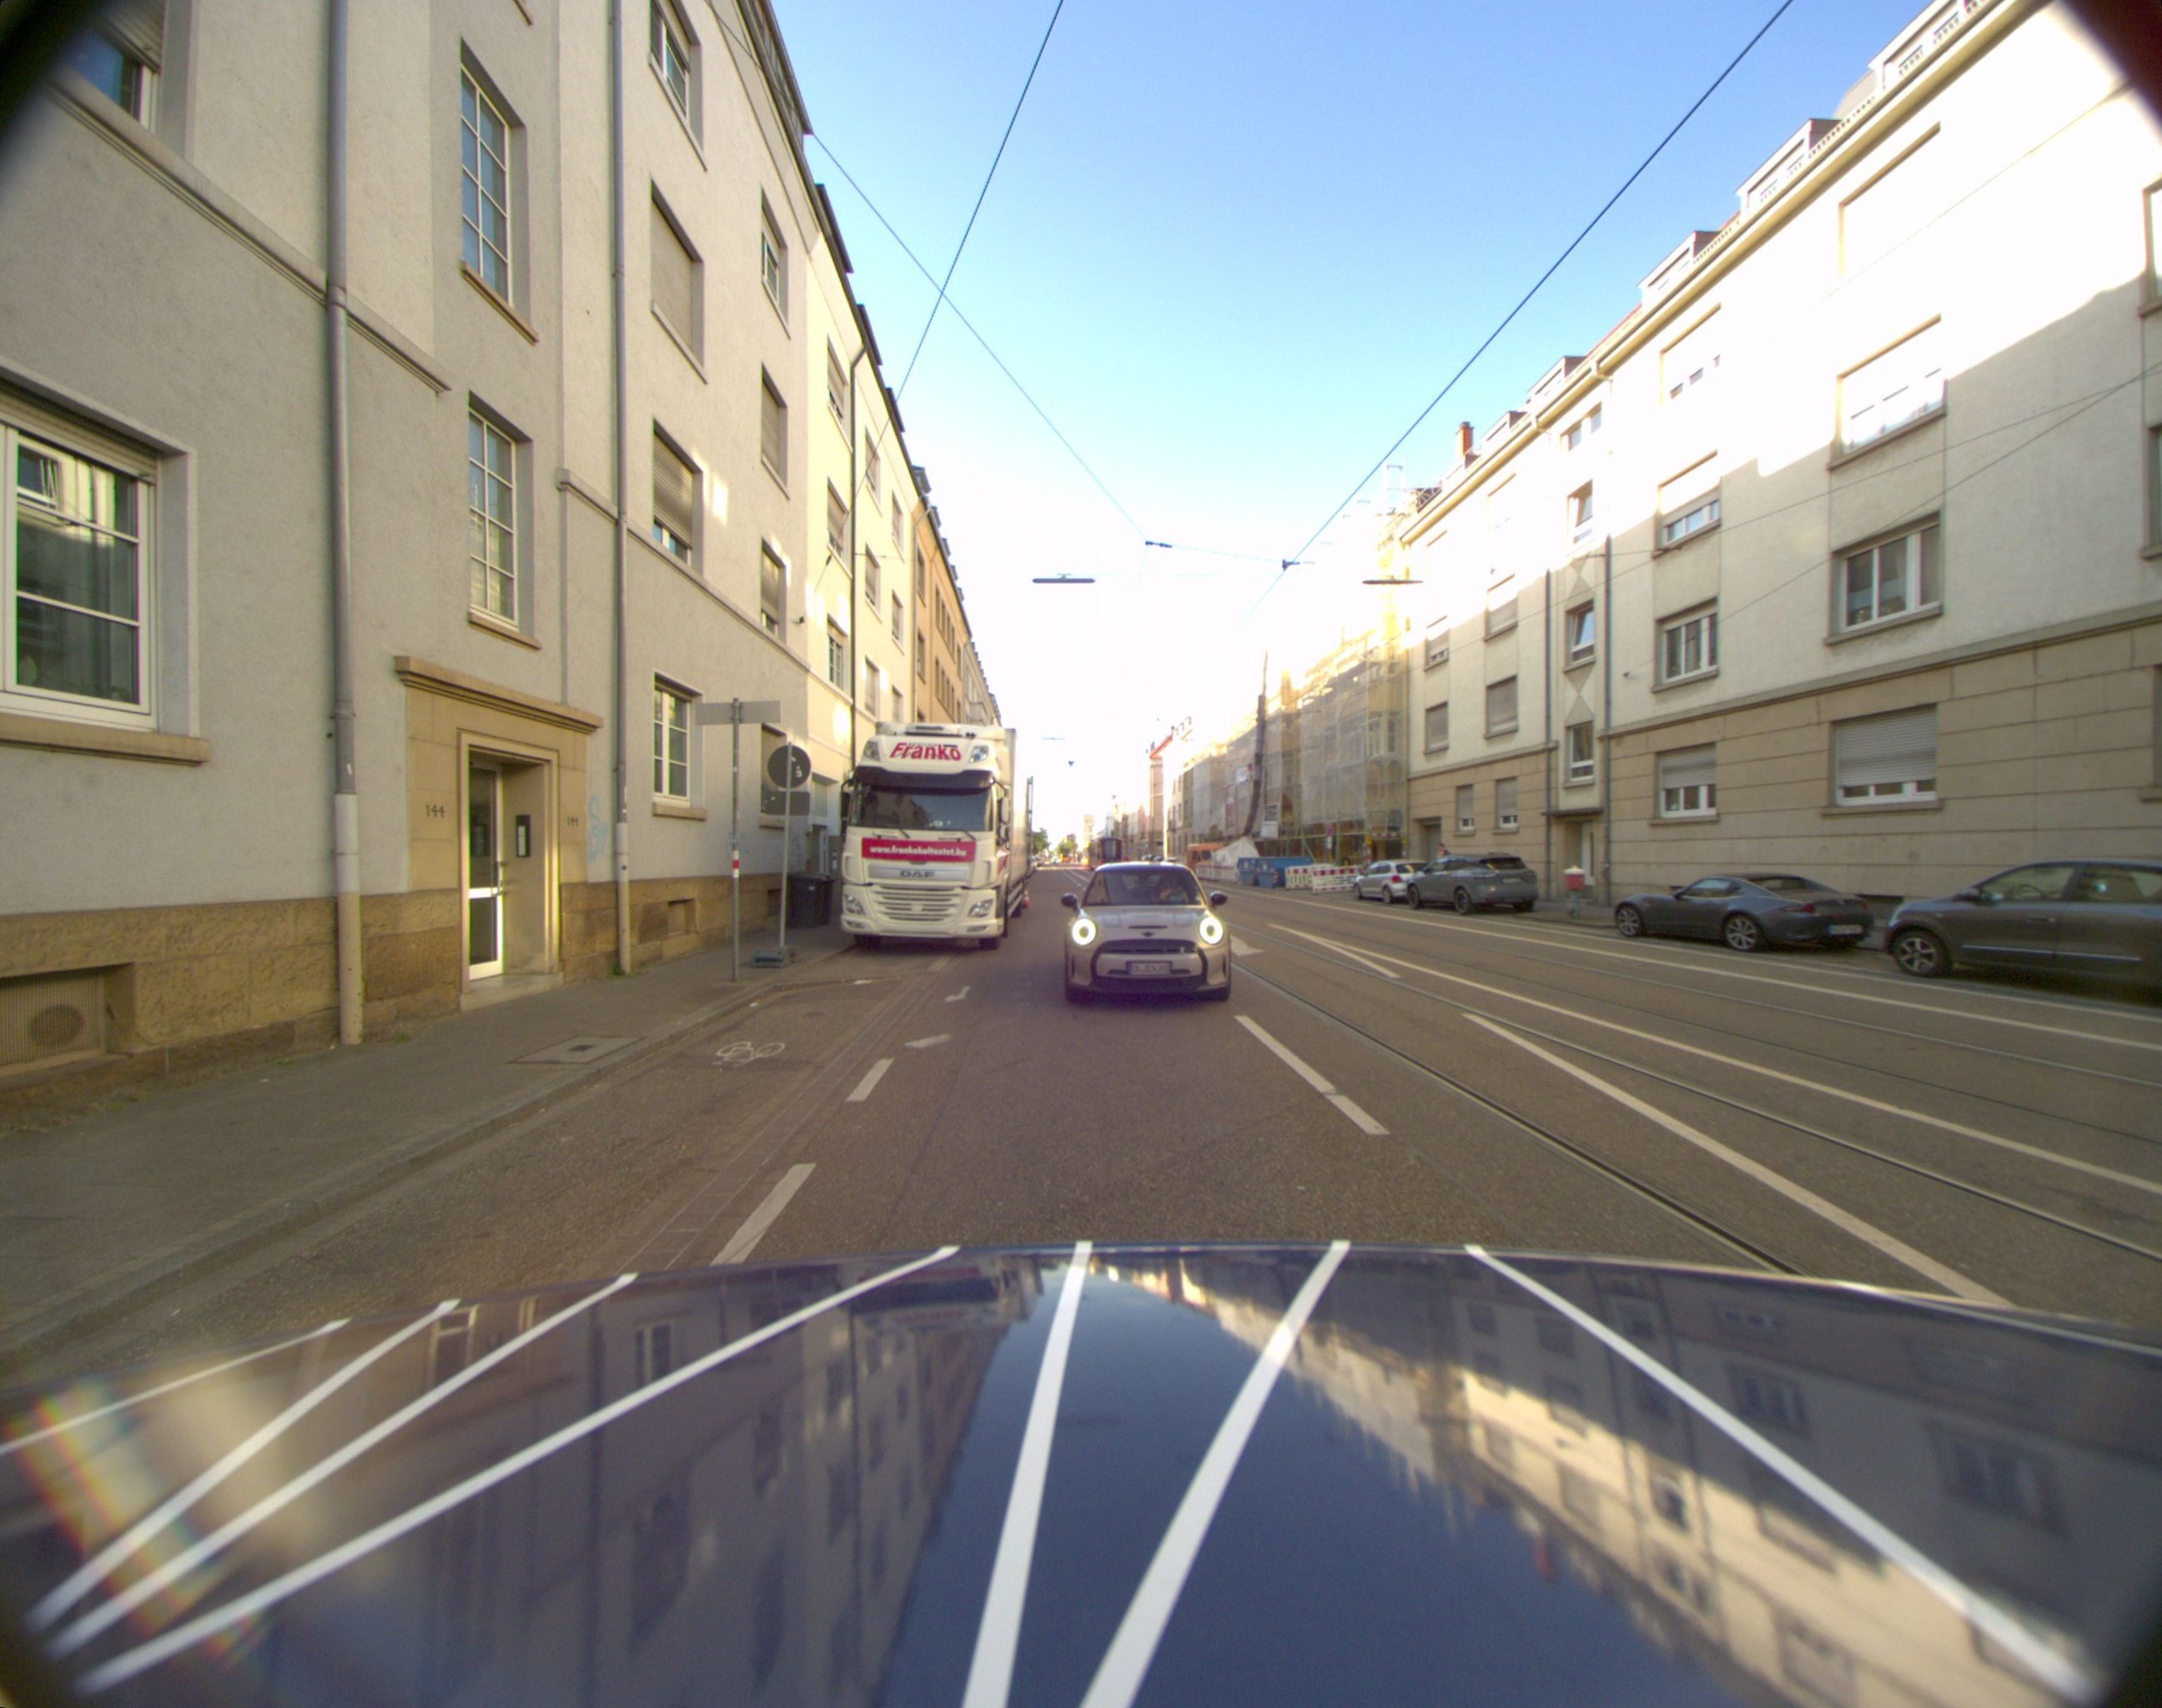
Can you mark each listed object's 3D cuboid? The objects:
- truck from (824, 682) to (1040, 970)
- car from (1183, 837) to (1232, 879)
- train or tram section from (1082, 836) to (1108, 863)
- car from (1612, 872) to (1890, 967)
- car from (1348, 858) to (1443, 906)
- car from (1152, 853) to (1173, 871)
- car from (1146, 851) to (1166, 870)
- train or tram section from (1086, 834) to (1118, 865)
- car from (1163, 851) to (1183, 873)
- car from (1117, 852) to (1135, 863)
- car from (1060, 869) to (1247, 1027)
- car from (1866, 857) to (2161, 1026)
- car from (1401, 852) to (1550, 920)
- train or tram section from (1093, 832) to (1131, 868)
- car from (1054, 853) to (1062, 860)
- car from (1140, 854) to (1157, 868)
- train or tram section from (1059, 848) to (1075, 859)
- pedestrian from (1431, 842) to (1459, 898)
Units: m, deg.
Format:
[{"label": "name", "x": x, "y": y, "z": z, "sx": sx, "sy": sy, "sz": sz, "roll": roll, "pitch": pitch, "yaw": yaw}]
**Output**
[{"label": "truck", "x": -2.498, "y": -0.504, "z": 17.047, "sx": 2.700, "sy": 4.214, "sz": 11.773, "roll": 0, "pitch": 1, "yaw": -1}, {"label": "car", "x": 8.802, "y": 0.249, "z": 53.359, "sx": 2.215, "sy": 2.681, "sz": 5.871, "roll": -2, "pitch": 1, "yaw": -2}, {"label": "train or tram section", "x": 1.830, "y": -0.695, "z": 106.587, "sx": 2.867, "sy": 3.542, "sz": 13.330, "roll": 0, "pitch": 1, "yaw": -3}, {"label": "car", "x": 11.122, "y": 1.003, "z": 12.966, "sx": 1.476, "sy": 1.212, "sz": 3.522, "roll": -3, "pitch": 1, "yaw": -4}, {"label": "car", "x": 10.571, "y": 0.887, "z": 25.781, "sx": 1.565, "sy": 1.372, "sz": 3.506, "roll": -3, "pitch": 1, "yaw": -4}, {"label": "car", "x": 8.194, "y": 0.768, "z": 77.011, "sx": 1.570, "sy": 1.674, "sz": 3.935, "roll": -2, "pitch": 1, "yaw": -1}, {"label": "car", "x": 8.184, "y": 0.647, "z": 83.396, "sx": 1.570, "sy": 1.945, "sz": 4.183, "roll": -2, "pitch": 1, "yaw": -1}, {"label": "train or tram section", "x": 2.474, "y": -0.568, "z": 93.285, "sx": 2.867, "sy": 3.542, "sz": 13.330, "roll": 0, "pitch": 1, "yaw": -3}, {"label": "car", "x": 8.599, "y": 0.694, "z": 71.088, "sx": 1.658, "sy": 1.911, "sz": 3.766, "roll": -2, "pitch": 1, "yaw": 5}, {"label": "car", "x": 7.053, "y": 0.502, "z": 119.572, "sx": 2.231, "sy": 1.518, "sz": 4.959, "roll": -2, "pitch": 1, "yaw": -1}, {"label": "car", "x": 0.670, "y": 0.910, "z": 8.969, "sx": 1.727, "sy": 1.416, "sz": 3.817, "roll": 0, "pitch": -1, "yaw": 0}, {"label": "car", "x": 11.360, "y": 0.868, "z": 8.350, "sx": 1.644, "sy": 1.549, "sz": 3.594, "roll": -3, "pitch": 1, "yaw": -2}, {"label": "car", "x": 10.839, "y": 0.788, "z": 21.251, "sx": 1.752, "sy": 1.600, "sz": 4.157, "roll": -3, "pitch": 1, "yaw": -4}, {"label": "train or tram section", "x": 3.107, "y": -0.444, "z": 80.103, "sx": 2.867, "sy": 3.542, "sz": 13.038, "roll": 0, "pitch": 1, "yaw": -3}, {"label": "car", "x": -6.392, "y": 0.579, "z": 207.256, "sx": 1.999, "sy": 1.871, "sz": 4.269, "roll": -2, "pitch": 1, "yaw": -4}, {"label": "car", "x": 7.870, "y": 0.817, "z": 88.384, "sx": 1.532, "sy": 1.518, "sz": 3.599, "roll": -2, "pitch": 1, "yaw": -1}, {"label": "train or tram section", "x": -5.008, "y": -0.218, "z": 262.886, "sx": 3.881, "sy": 3.616, "sz": 14.401, "roll": -2, "pitch": 1, "yaw": -7}, {"label": "pedestrian", "x": 12.247, "y": 0.524, "z": 25.563, "sx": 0.519, "sy": 1.861, "sz": 0.762, "roll": -2, "pitch": 1, "yaw": -2}]
